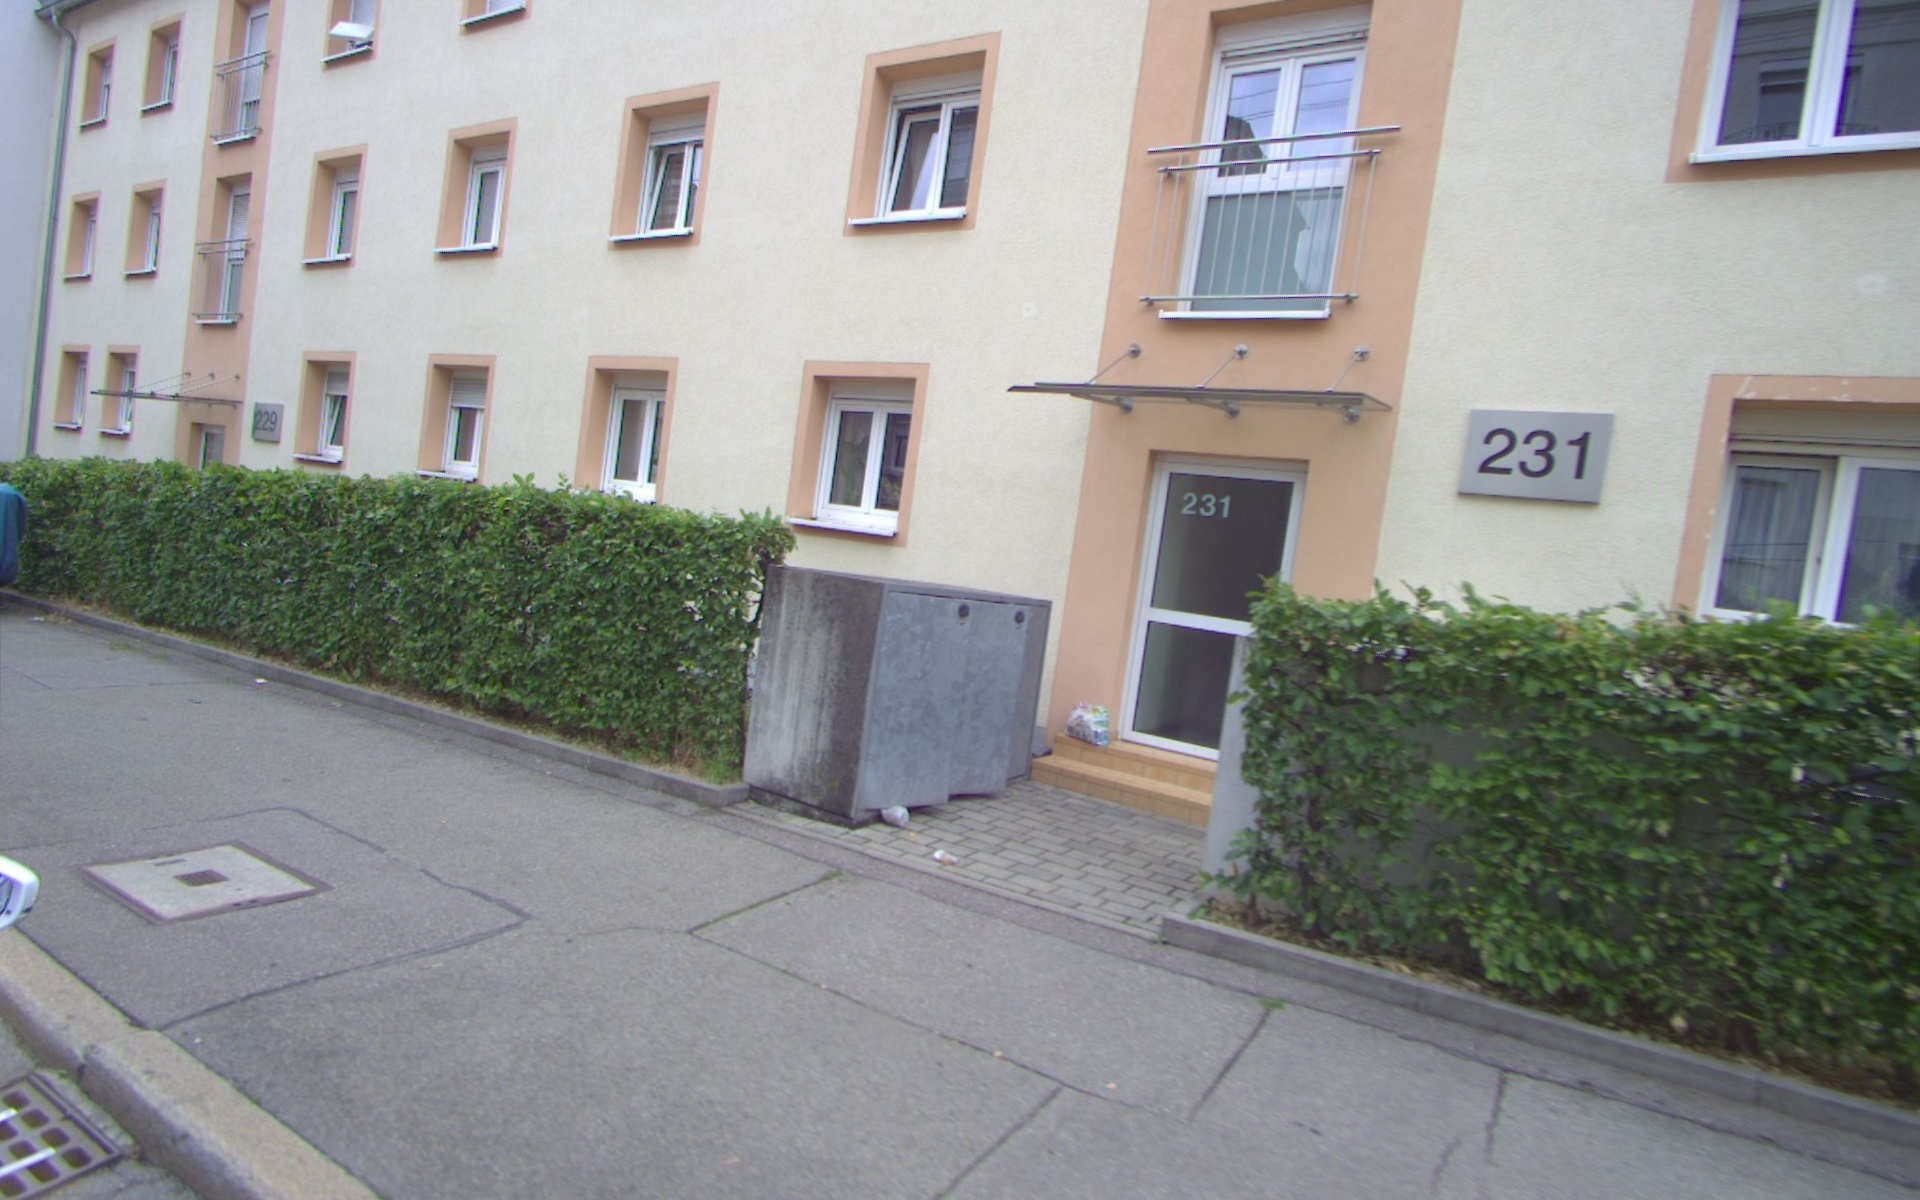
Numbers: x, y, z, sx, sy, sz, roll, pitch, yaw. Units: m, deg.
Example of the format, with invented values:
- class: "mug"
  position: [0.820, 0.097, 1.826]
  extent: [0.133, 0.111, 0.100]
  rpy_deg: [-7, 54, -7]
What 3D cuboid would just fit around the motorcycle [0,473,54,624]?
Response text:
- class: "motorcycle"
  position: [-10.598, -0.639, 10.606]
  extent: [2.511, 1.475, 0.839]
  rpy_deg: [7, 1, 32]
